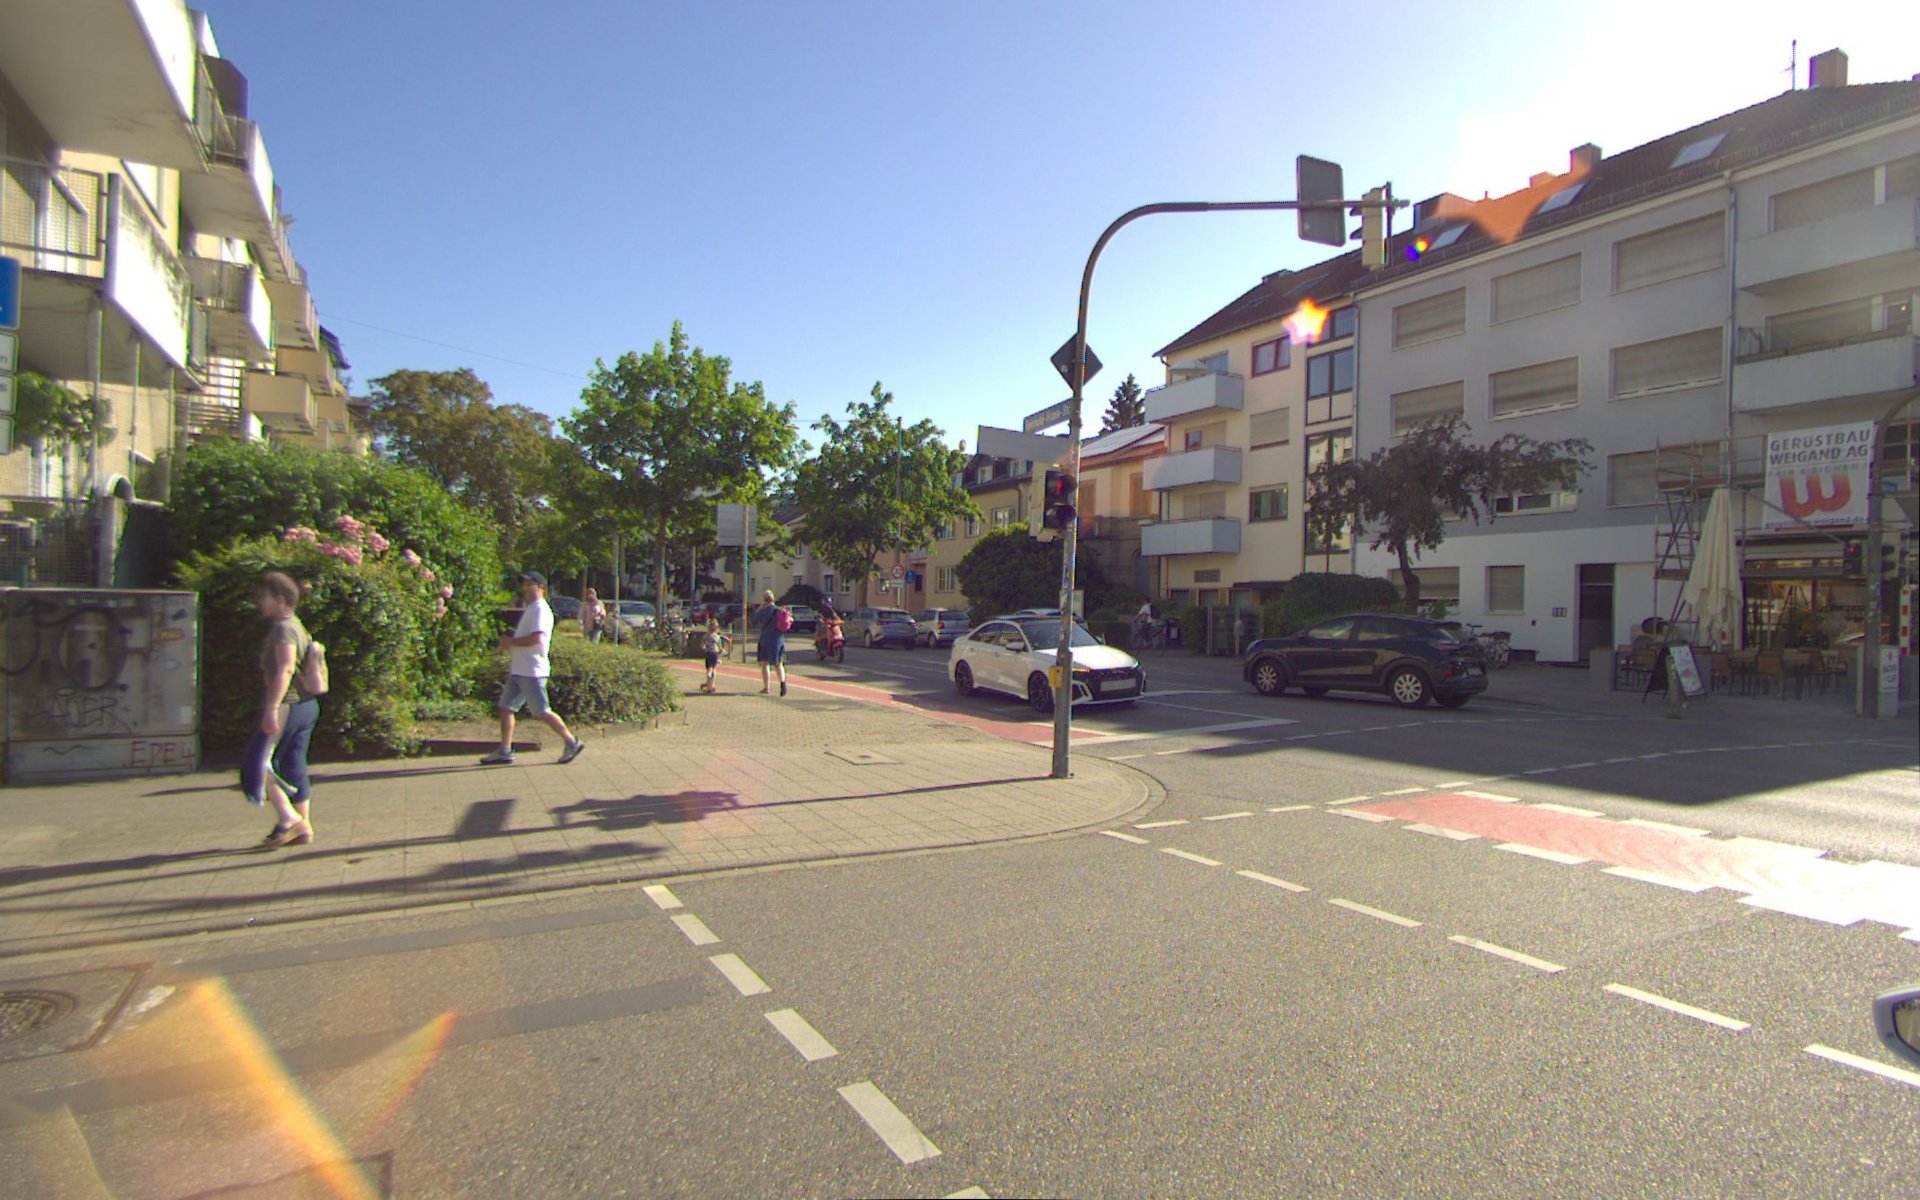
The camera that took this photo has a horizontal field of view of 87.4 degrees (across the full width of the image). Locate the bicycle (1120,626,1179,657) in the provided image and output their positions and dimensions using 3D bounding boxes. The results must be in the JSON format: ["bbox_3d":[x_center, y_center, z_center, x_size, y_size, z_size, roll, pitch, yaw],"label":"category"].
[{"bbox_3d":[5.825,1.268,31.003,0.548,0.845,2.114,1,0,-30],"label":"bicycle"}]

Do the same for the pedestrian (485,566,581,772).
[{"bbox_3d":[-3.731,0.577,8.768,0.662,1.711,0.569,1,0,-34],"label":"pedestrian"}]

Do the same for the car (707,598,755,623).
[{"bbox_3d":[-14.462,0.643,63.407,1.893,1.449,3.969,-2,1,-29],"label":"car"}]

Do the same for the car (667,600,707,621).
[{"bbox_3d":[-19.899,0.738,73.145,1.893,1.449,3.969,-2,1,-29],"label":"car"}]

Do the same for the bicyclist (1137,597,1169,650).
[{"bbox_3d":[5.926,0.717,30.897,0.548,1.569,0.808,1,0,-30],"label":"bicyclist"}]

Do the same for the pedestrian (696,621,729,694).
[{"bbox_3d":[-4.007,0.921,16.262,0.382,1.161,0.528,1,0,-29],"label":"pedestrian"}]

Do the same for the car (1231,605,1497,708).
[{"bbox_3d":[6.917,0.902,17.511,1.586,1.586,4.037,2,-2,-43],"label":"car"}]

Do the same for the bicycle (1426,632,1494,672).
[{"bbox_3d":[12.850,1.330,25.848,0.506,0.952,1.583,1,-1,-27],"label":"bicycle"}]

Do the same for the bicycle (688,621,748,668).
[{"bbox_3d":[-6.609,1.223,27.486,1.550,1.177,0.447,1,14,-7],"label":"bicycle"}]

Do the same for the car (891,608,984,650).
[{"bbox_3d":[-0.901,1.050,38.051,1.893,1.449,3.969,-2,1,-29],"label":"car"}]

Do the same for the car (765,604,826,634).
[{"bbox_3d":[-8.673,0.959,52.718,1.893,1.449,3.969,-2,1,-29],"label":"car"}]

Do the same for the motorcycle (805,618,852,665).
[{"bbox_3d":[-3.510,1.078,26.704,0.739,1.149,1.672,-1,0,-26],"label":"motorcycle"}]

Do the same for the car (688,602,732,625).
[{"bbox_3d":[-16.820,0.904,67.455,1.893,1.449,3.969,-2,1,-29],"label":"car"}]

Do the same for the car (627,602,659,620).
[{"bbox_3d":[-27.382,0.937,86.691,1.893,1.449,3.969,-2,1,-29],"label":"car"}]

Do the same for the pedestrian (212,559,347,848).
[{"bbox_3d":[-3.991,0.579,5.927,0.555,1.602,0.530,1,0,-25],"label":"pedestrian"}]

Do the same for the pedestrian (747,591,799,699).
[{"bbox_3d":[-3.048,0.710,16.322,0.567,1.705,0.962,1,0,-27],"label":"pedestrian"}]

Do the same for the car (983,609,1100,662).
[{"bbox_3d":[2.547,1.089,32.349,1.893,1.539,3.969,0,0,-29],"label":"car"}]

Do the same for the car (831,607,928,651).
[{"bbox_3d":[-2.955,1.009,36.085,1.822,1.453,4.142,1,-1,-30],"label":"car"}]

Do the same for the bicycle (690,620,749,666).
[{"bbox_3d":[-6.682,1.197,27.985,1.550,1.177,0.447,1,14,-7],"label":"bicycle"}]

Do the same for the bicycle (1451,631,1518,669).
[{"bbox_3d":[14.007,1.318,26.863,0.506,0.952,1.583,1,-1,-27],"label":"bicycle"}]

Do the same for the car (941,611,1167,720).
[{"bbox_3d":[1.467,1.004,17.346,1.909,1.455,4.238,-3,2,-27],"label":"car"}]

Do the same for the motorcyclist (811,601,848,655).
[{"bbox_3d":[-3.454,0.728,26.598,0.747,1.374,0.787,-1,1,-26],"label":"motorcyclist"}]

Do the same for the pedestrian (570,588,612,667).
[{"bbox_3d":[-7.691,0.571,20.917,0.688,1.617,0.642,1,0,-31],"label":"pedestrian"}]

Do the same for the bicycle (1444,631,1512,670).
[{"bbox_3d":[13.554,1.303,26.324,0.506,0.952,1.583,1,-1,-27],"label":"bicycle"}]
